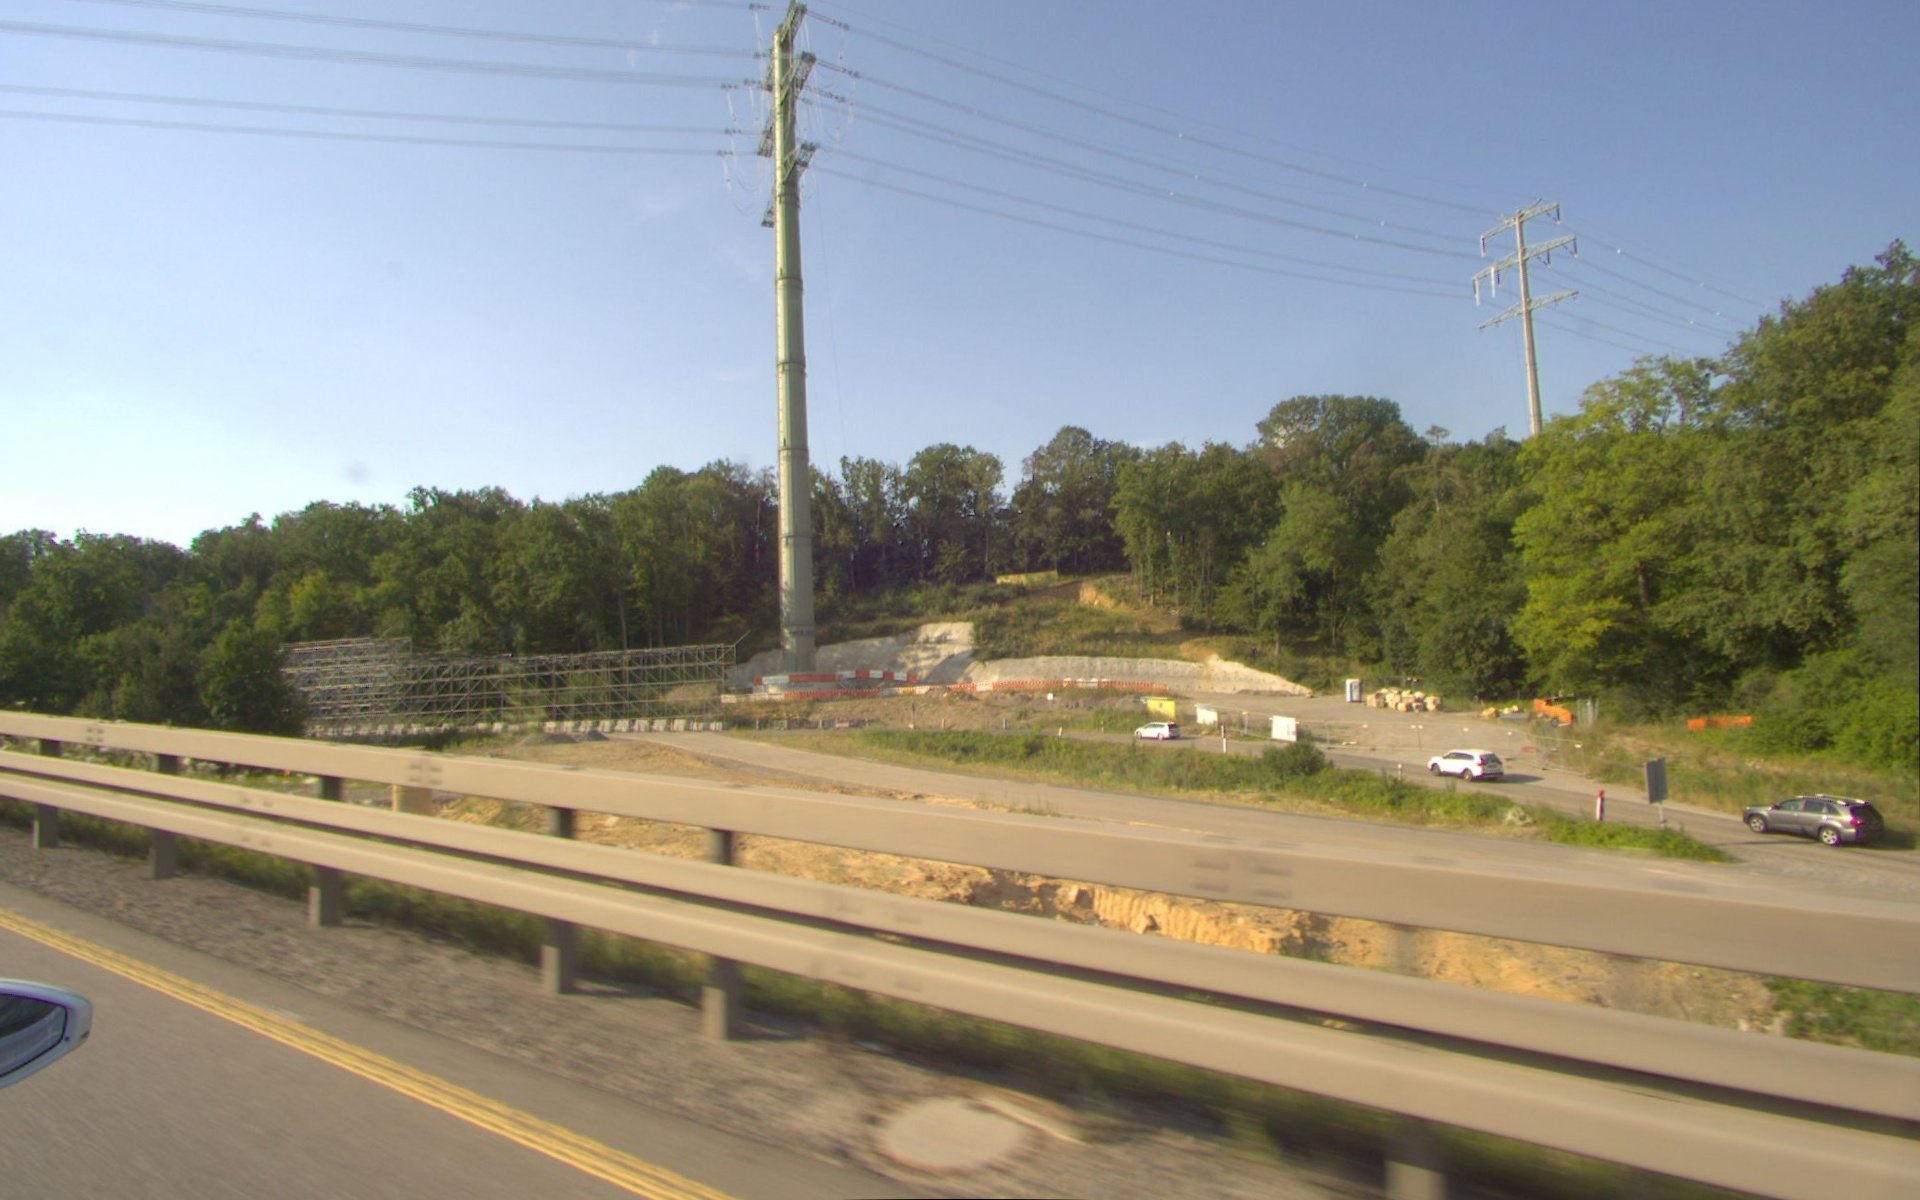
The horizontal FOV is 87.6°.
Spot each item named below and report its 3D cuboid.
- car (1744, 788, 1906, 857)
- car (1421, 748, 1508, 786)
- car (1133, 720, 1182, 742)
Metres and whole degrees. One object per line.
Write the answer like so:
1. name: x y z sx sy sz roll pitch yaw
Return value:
1. car: 33.689 8.614 39.175 1.836 1.807 4.491 0 -2 -18
2. car: 28.861 9.557 57.461 1.647 1.682 4.459 2 -4 -24
3. car: 17.169 11.409 87.314 1.512 1.479 4.237 0 -2 -38
